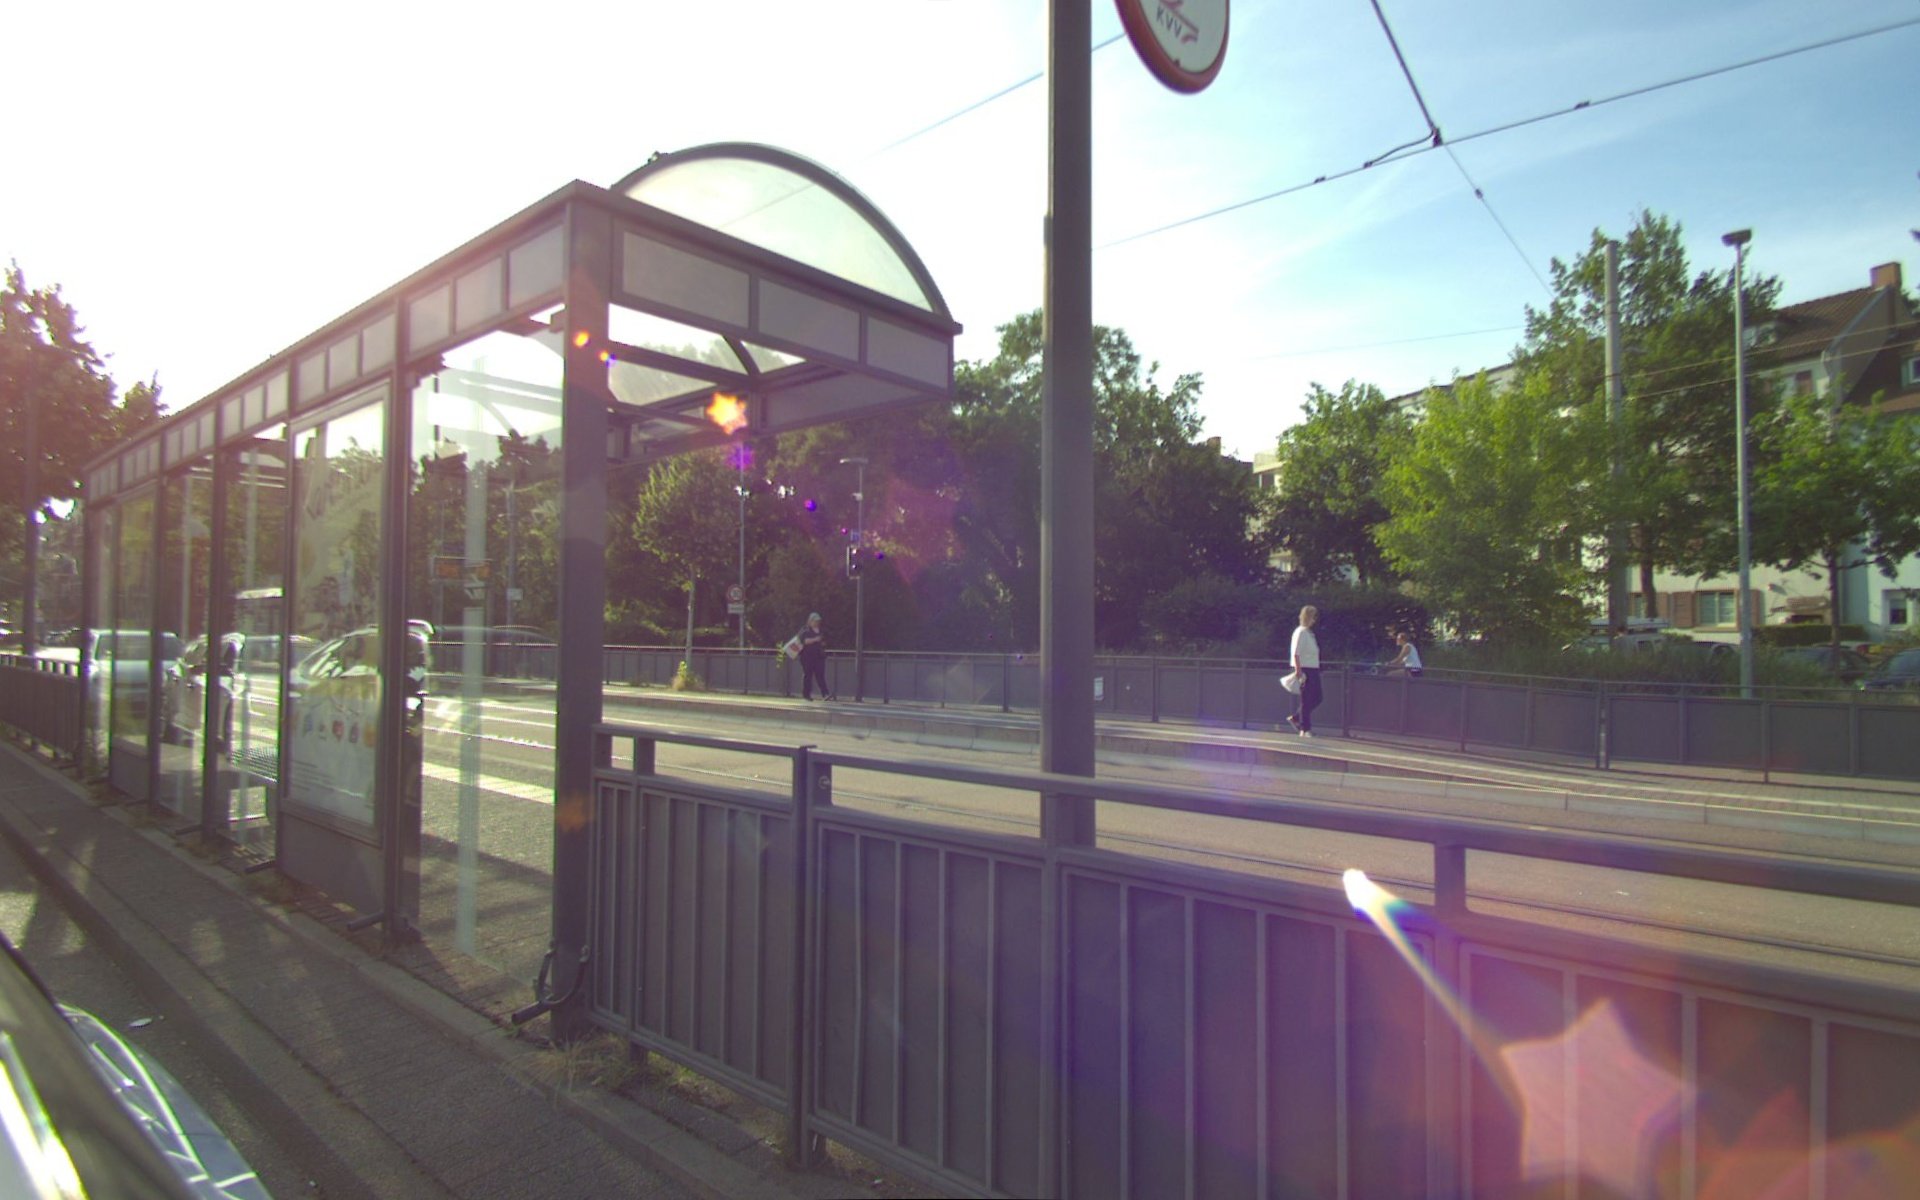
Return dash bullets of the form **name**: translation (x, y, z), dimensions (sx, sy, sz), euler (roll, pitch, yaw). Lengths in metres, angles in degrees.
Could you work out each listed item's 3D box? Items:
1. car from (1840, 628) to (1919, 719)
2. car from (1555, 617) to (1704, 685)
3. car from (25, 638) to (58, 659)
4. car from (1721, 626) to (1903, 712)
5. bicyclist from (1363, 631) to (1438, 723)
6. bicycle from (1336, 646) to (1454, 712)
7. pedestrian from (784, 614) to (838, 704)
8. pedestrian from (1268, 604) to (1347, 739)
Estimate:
- **car**: translation (20.212, 1.495, 20.911), dimensions (3.931, 1.767, 1.860), euler (2, -3, -30)
- **car**: translation (18.455, 1.394, 27.882), dimensions (3.931, 1.767, 1.860), euler (2, -3, -30)
- **car**: translation (-93.909, 4.959, 103.443), dimensions (3.997, 2.029, 1.973), euler (-2, -3, 41)
- **car**: translation (19.000, 1.490, 22.563), dimensions (3.931, 1.767, 1.860), euler (2, -3, -30)
- **bicyclist**: translation (8.187, 1.409, 18.824), dimensions (1.071, 1.636, 0.697), euler (-2, -1, 41)
- **bicycle**: translation (8.101, 1.445, 18.894), dimensions (1.864, 1.118, 0.718), euler (-2, -1, 42)
- **pedestrian**: translation (-2.782, 1.089, 18.928), dimensions (0.689, 1.640, 0.727), euler (-2, -3, 41)
- **pedestrian**: translation (4.385, 0.886, 12.782), dimensions (0.727, 1.640, 0.699), euler (-2, -3, 41)
